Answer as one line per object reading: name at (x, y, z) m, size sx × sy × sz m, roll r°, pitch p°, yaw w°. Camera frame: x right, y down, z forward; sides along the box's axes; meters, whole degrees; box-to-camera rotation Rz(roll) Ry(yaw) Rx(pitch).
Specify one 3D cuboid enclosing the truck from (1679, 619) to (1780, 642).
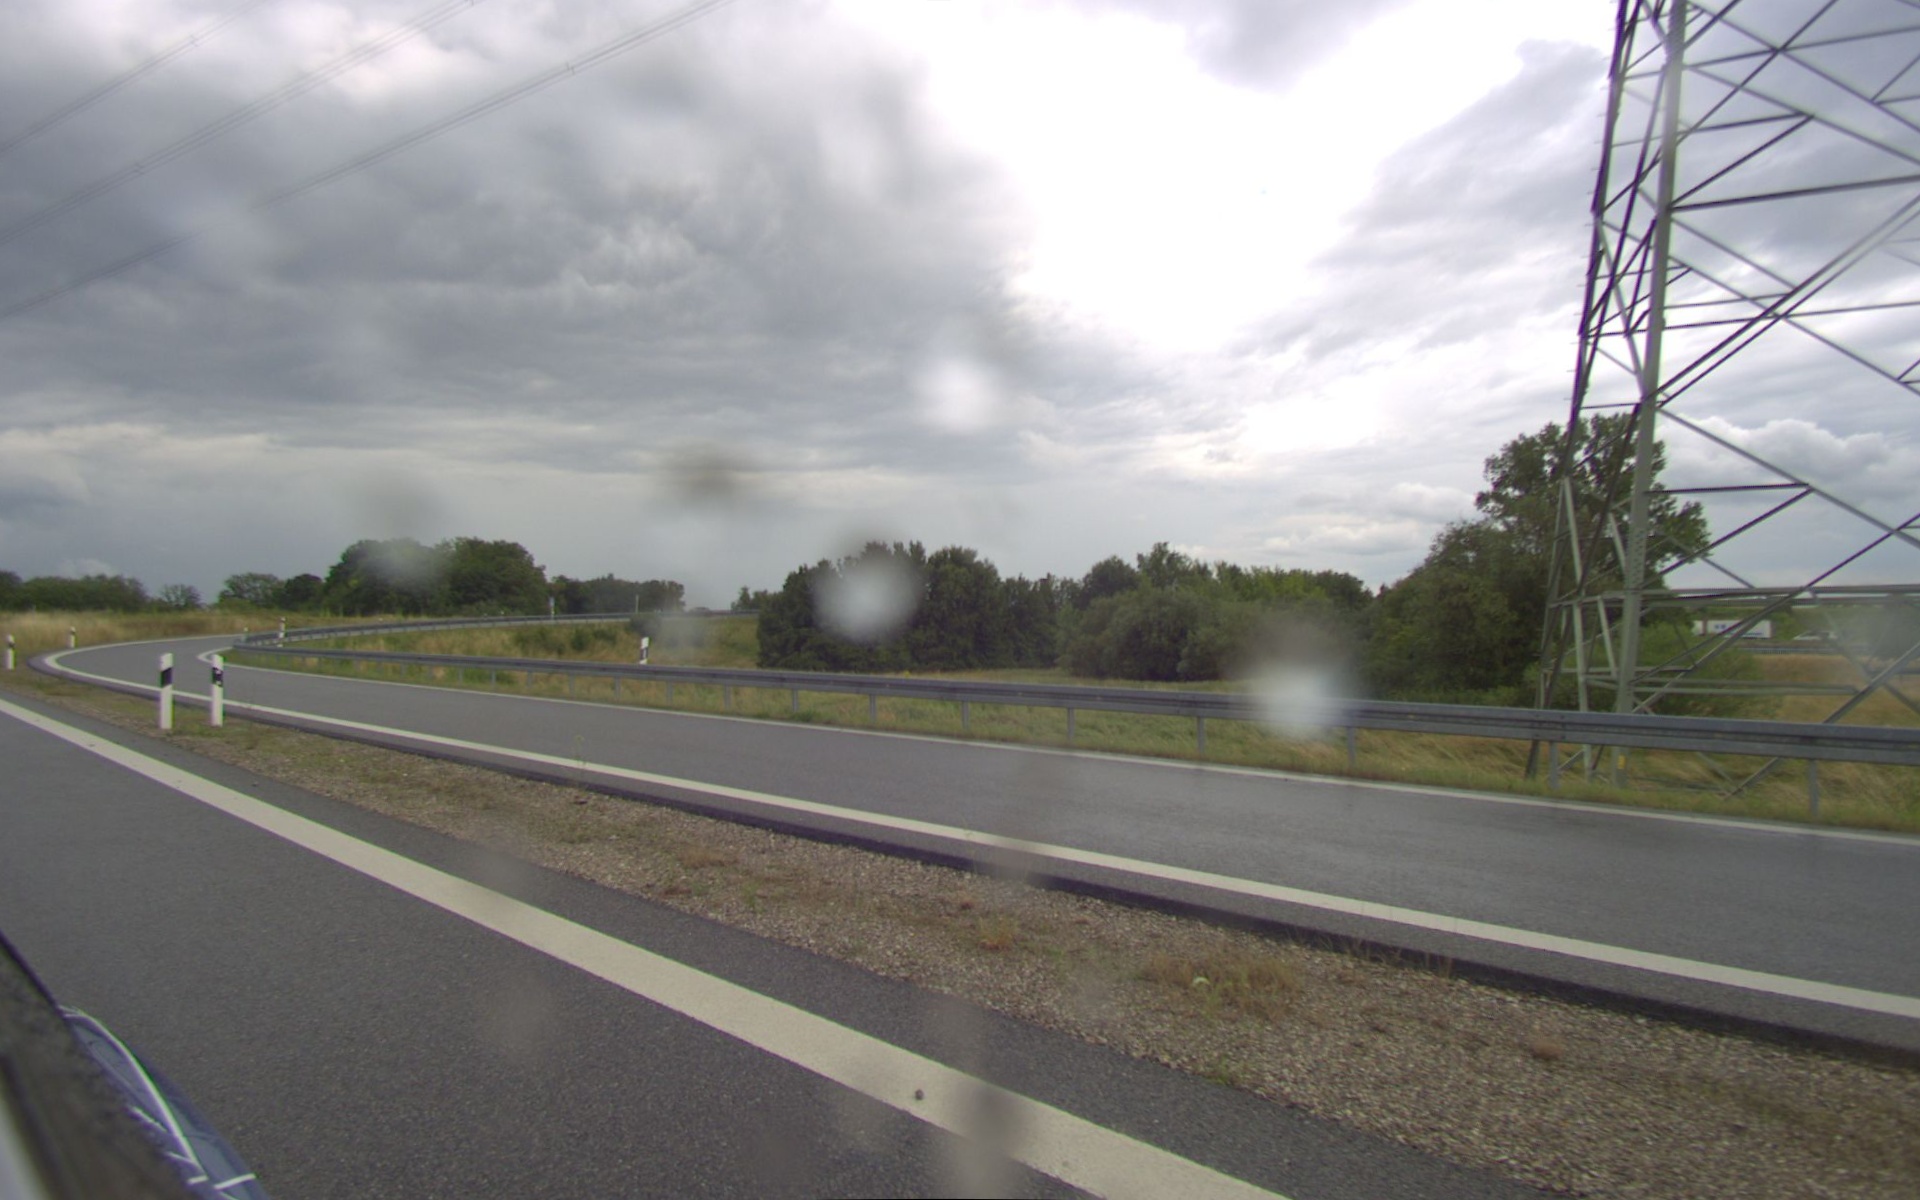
truck at (120.324, 4.801, 158.519) m, size 3.177 × 3.115 × 12.079 m, roll 0°, pitch -3°, yaw -33°
